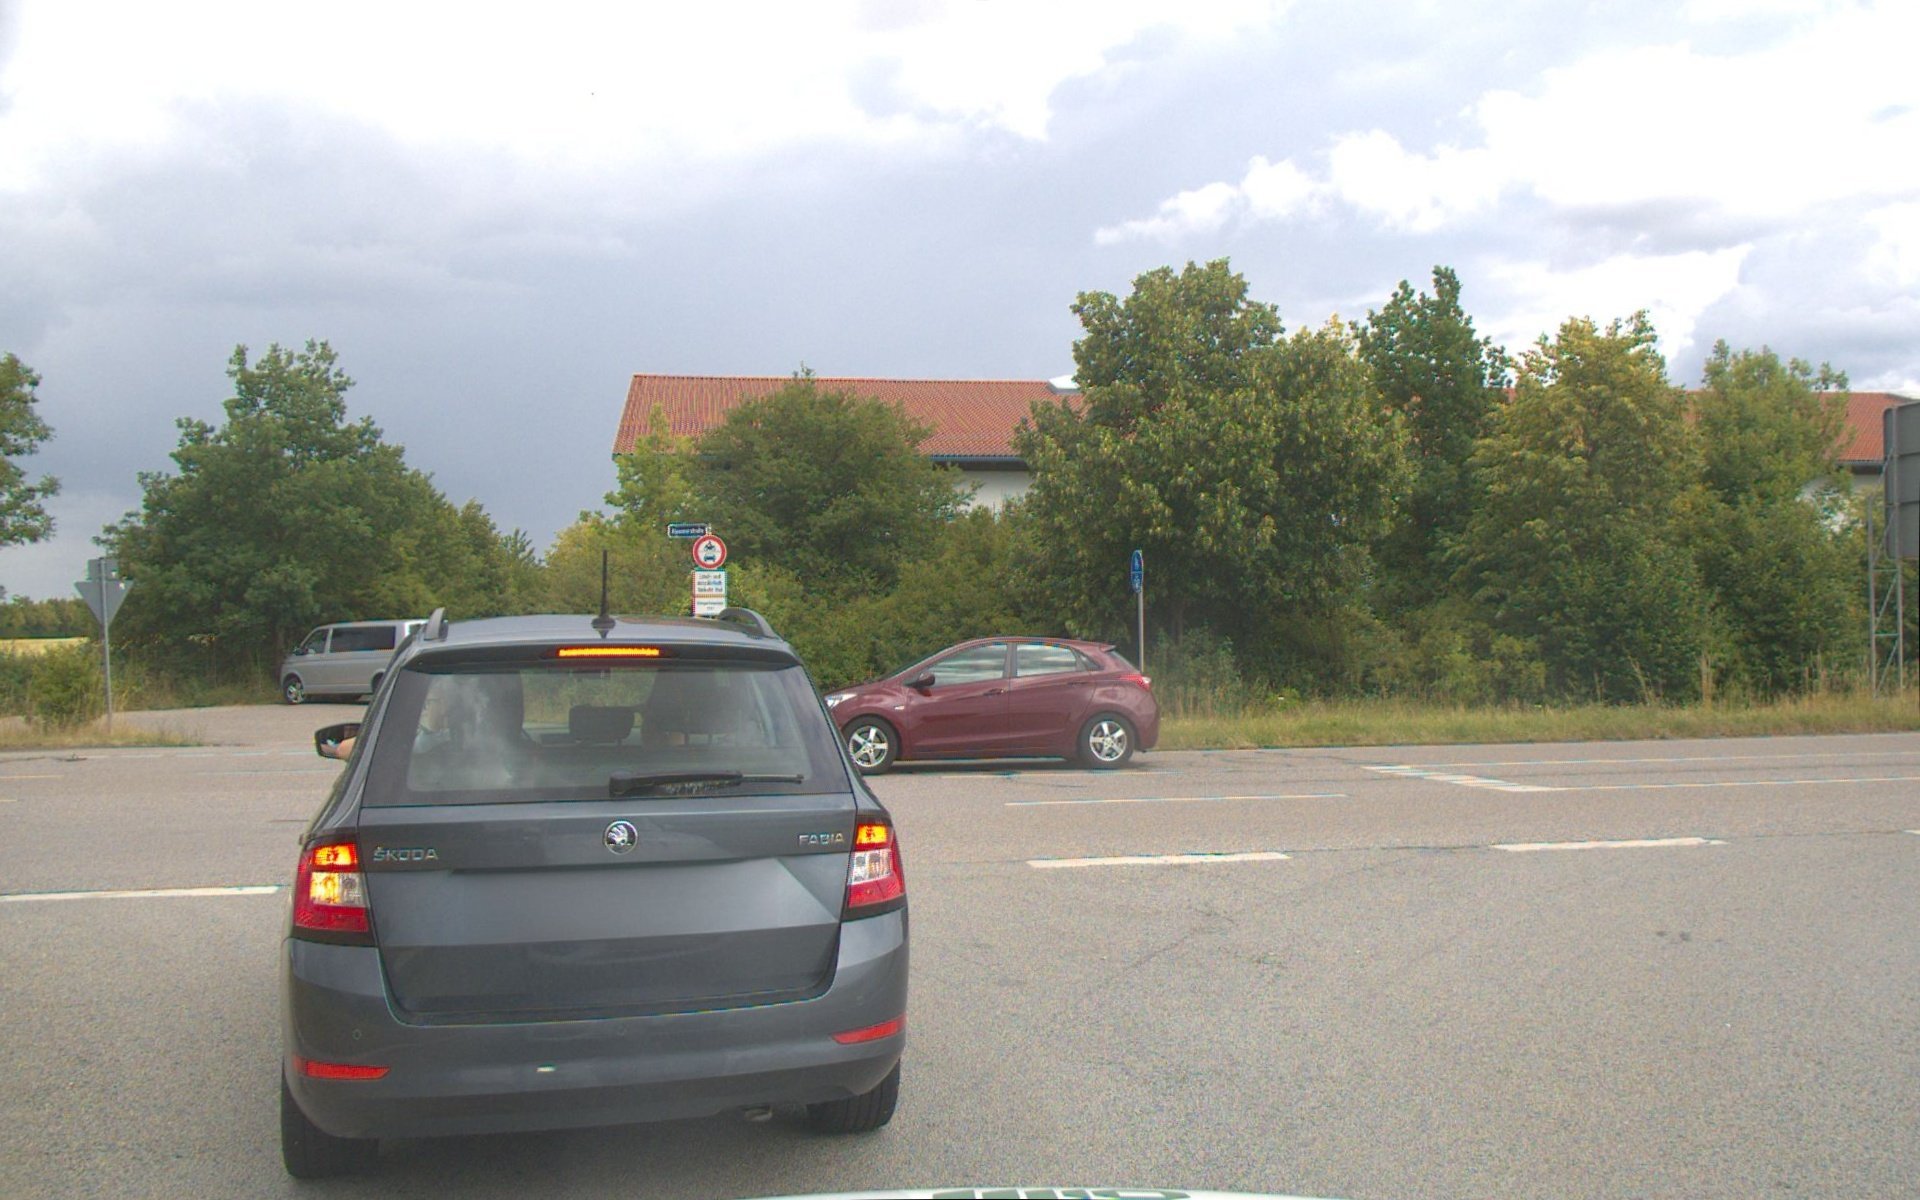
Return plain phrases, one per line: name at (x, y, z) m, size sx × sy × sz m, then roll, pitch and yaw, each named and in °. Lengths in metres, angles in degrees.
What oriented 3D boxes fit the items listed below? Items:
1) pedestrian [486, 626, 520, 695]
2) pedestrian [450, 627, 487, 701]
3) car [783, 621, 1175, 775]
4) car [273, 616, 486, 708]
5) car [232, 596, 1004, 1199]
pedestrian at (-11.558, 1.514, 41.806) m, size 0.571 × 1.712 × 0.566 m, roll -1°, pitch 0°, yaw 17°
pedestrian at (-11.928, 1.557, 40.147) m, size 0.518 × 1.756 × 0.640 m, roll -1°, pitch 0°, yaw 29°
car at (0.137, 1.042, 18.477) m, size 4.073 × 1.490 × 1.995 m, roll -1°, pitch -1°, yaw -11°
car at (-14.221, 1.482, 40.479) m, size 4.807 × 2.049 × 2.338 m, roll -1°, pitch 1°, yaw 31°
car at (-1.243, 0.754, 5.362) m, size 1.650 × 1.488 × 3.689 m, roll 0°, pitch 0°, yaw -18°
